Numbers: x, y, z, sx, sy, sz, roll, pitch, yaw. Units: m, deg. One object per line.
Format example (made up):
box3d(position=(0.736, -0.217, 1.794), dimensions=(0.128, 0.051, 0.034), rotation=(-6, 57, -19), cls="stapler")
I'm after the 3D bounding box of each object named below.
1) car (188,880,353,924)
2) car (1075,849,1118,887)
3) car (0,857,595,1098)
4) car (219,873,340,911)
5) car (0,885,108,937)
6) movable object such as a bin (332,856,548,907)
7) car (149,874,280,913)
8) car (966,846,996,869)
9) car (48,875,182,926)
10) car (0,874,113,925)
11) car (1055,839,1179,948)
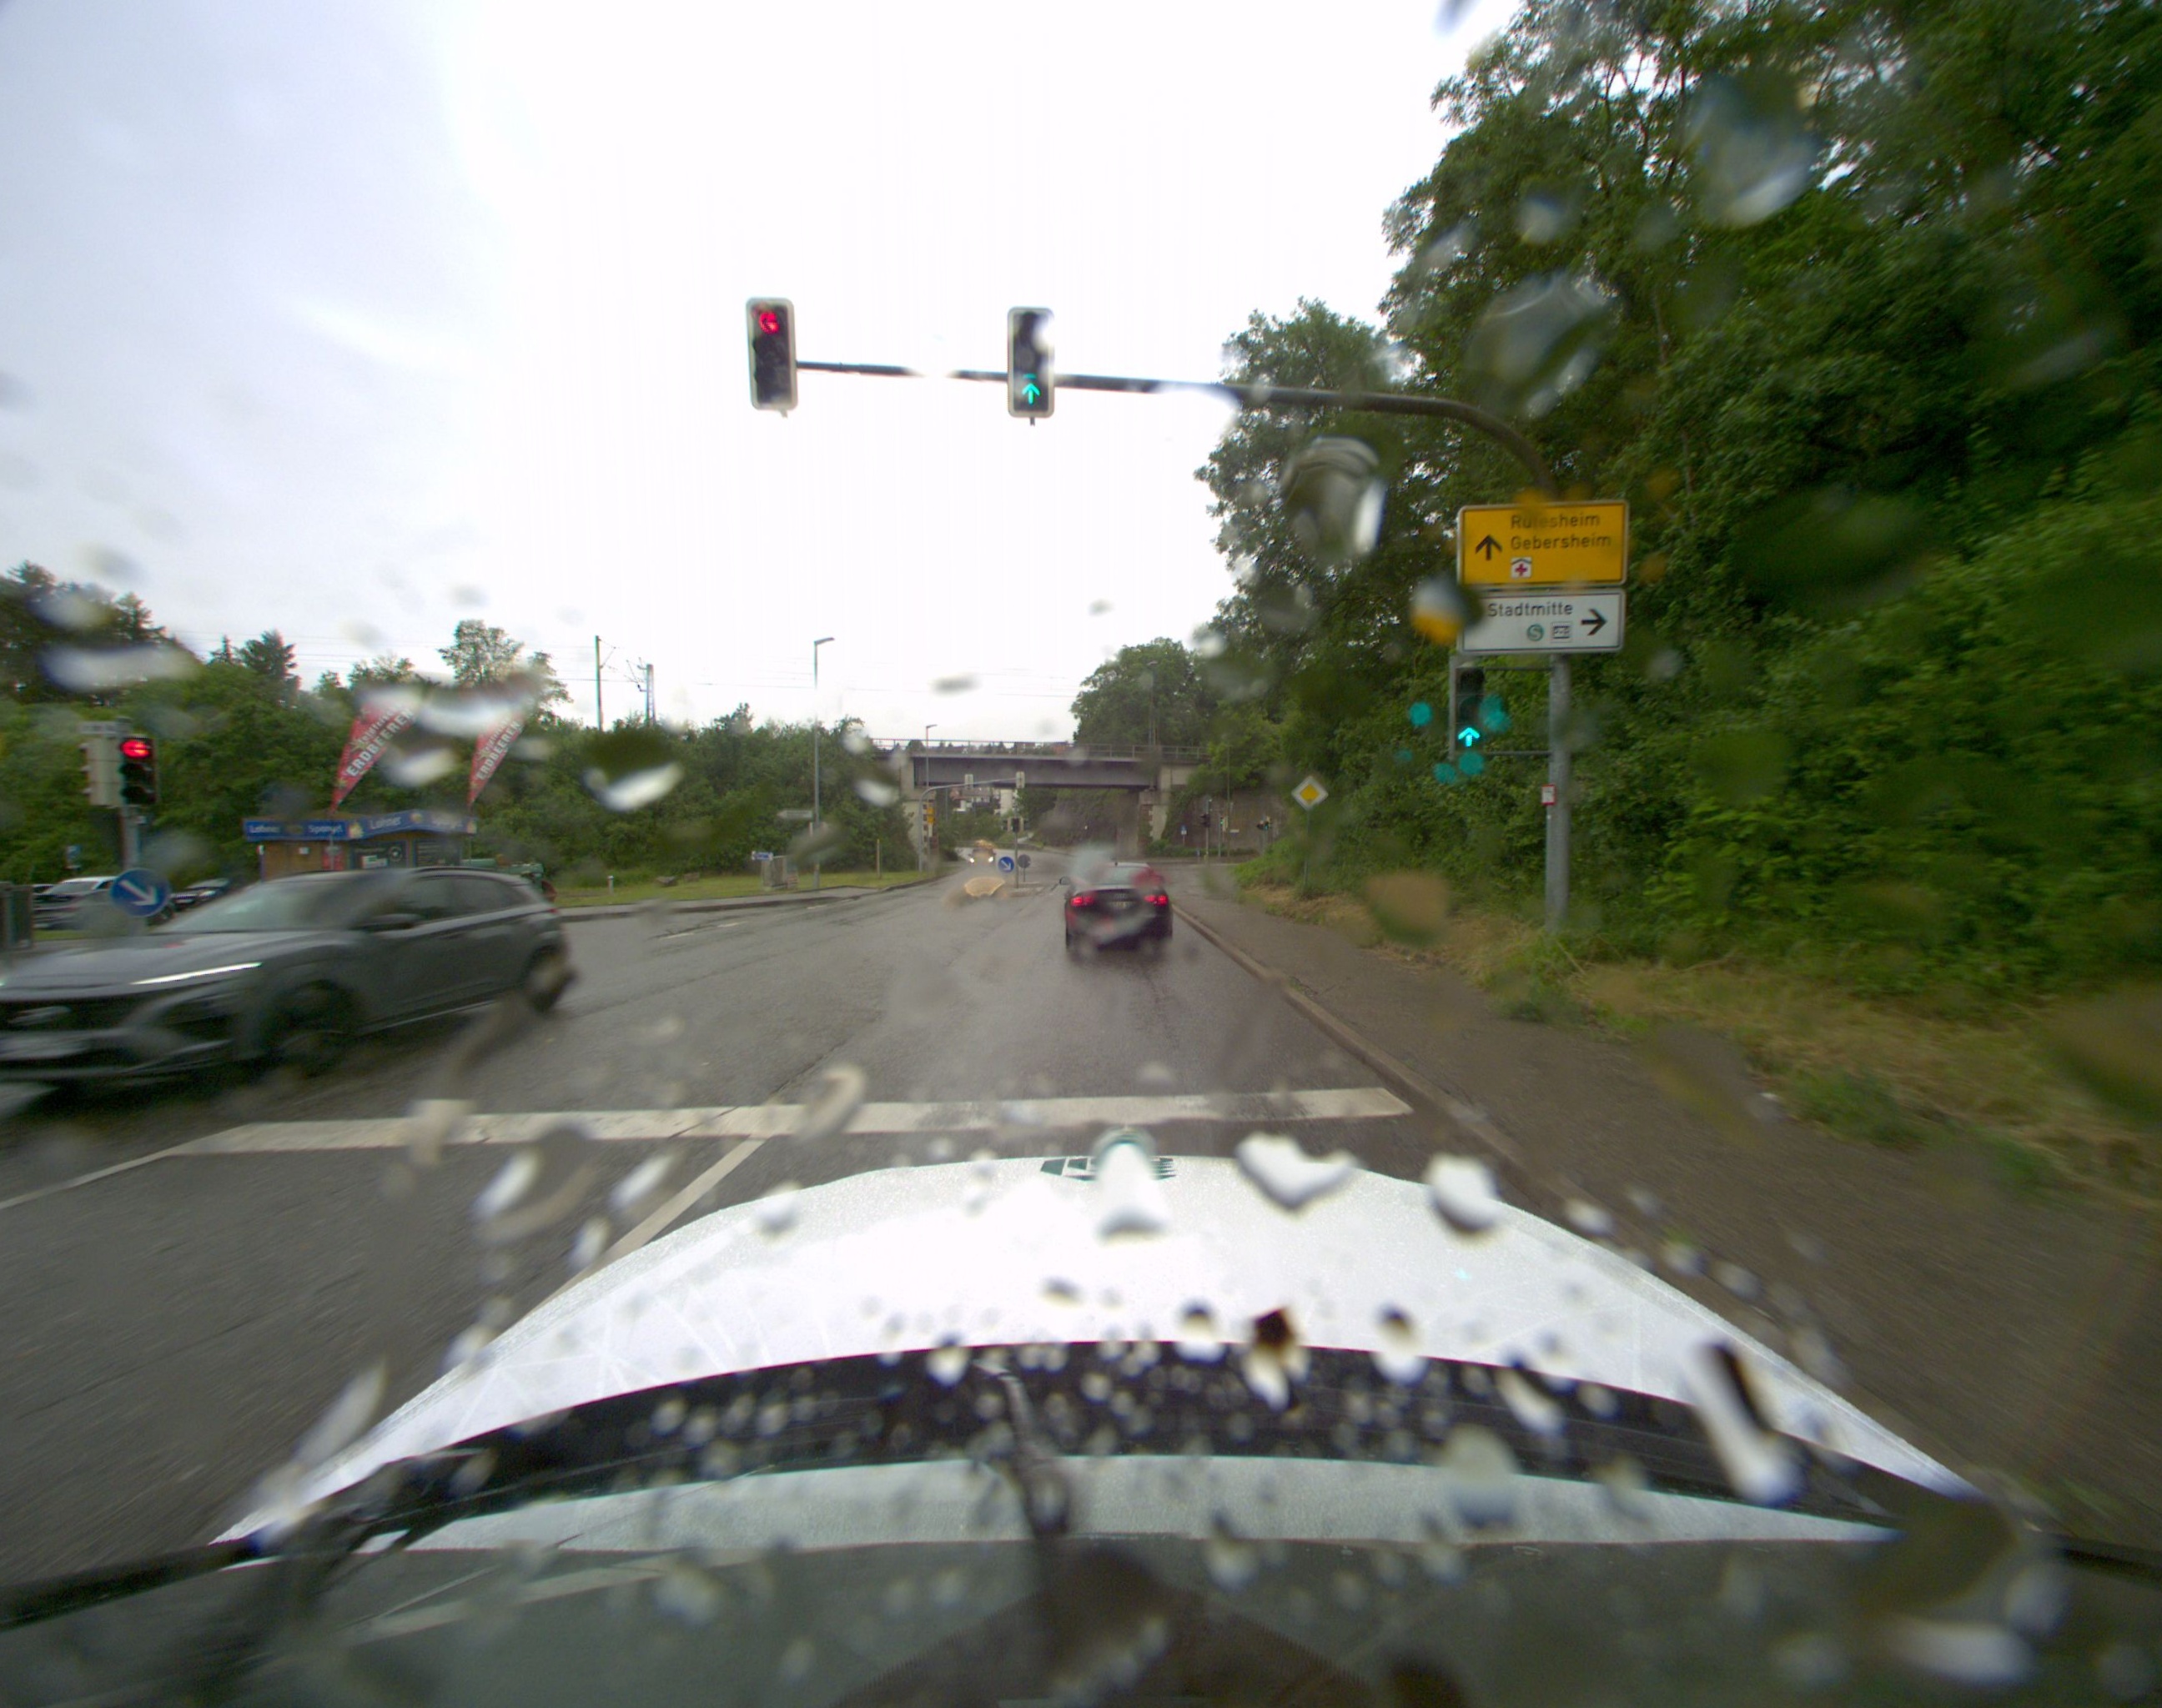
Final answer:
box3d(position=(-28.264, 1.609, 28.651), dimensions=(1.652, 1.340, 4.883), rotation=(-1, -1, -11), cls="car")
box3d(position=(0.721, 0.651, 37.052), dimensions=(1.816, 1.585, 4.001), rotation=(-1, -1, 2), cls="car")
box3d(position=(-6.346, 0.790, 7.147), dimensions=(1.633, 1.470, 4.001), rotation=(-1, 0, 1), cls="car")
box3d(position=(-35.809, 1.653, 36.552), dimensions=(1.994, 1.585, 3.984), rotation=(-1, -1, -11), cls="car")
box3d(position=(-35.076, 1.872, 26.750), dimensions=(1.937, 1.585, 3.892), rotation=(-1, -1, -11), cls="car")
box3d(position=(-23.241, 0.936, 29.744), dimensions=(2.716, 1.628, 5.816), rotation=(-2, -1, 41), cls="movable object such as a bin")
box3d(position=(-38.412, 1.707, 36.268), dimensions=(1.994, 1.585, 3.984), rotation=(-1, -1, -11), cls="car")
box3d(position=(-7.435, 0.249, 60.894), dimensions=(1.990, 1.628, 3.993), rotation=(-2, 0, -5), cls="car")
box3d(position=(-42.629, 1.979, 36.080), dimensions=(1.941, 2.013, 3.848), rotation=(-1, 0, -15), cls="car")
box3d(position=(-45.229, 1.937, 35.399), dimensions=(1.995, 2.013, 3.983), rotation=(-2, 0, -12), cls="car")
box3d(position=(0.606, 0.635, 14.423), dimensions=(1.863, 1.617, 4.001), rotation=(-1, -1, 1), cls="car")
